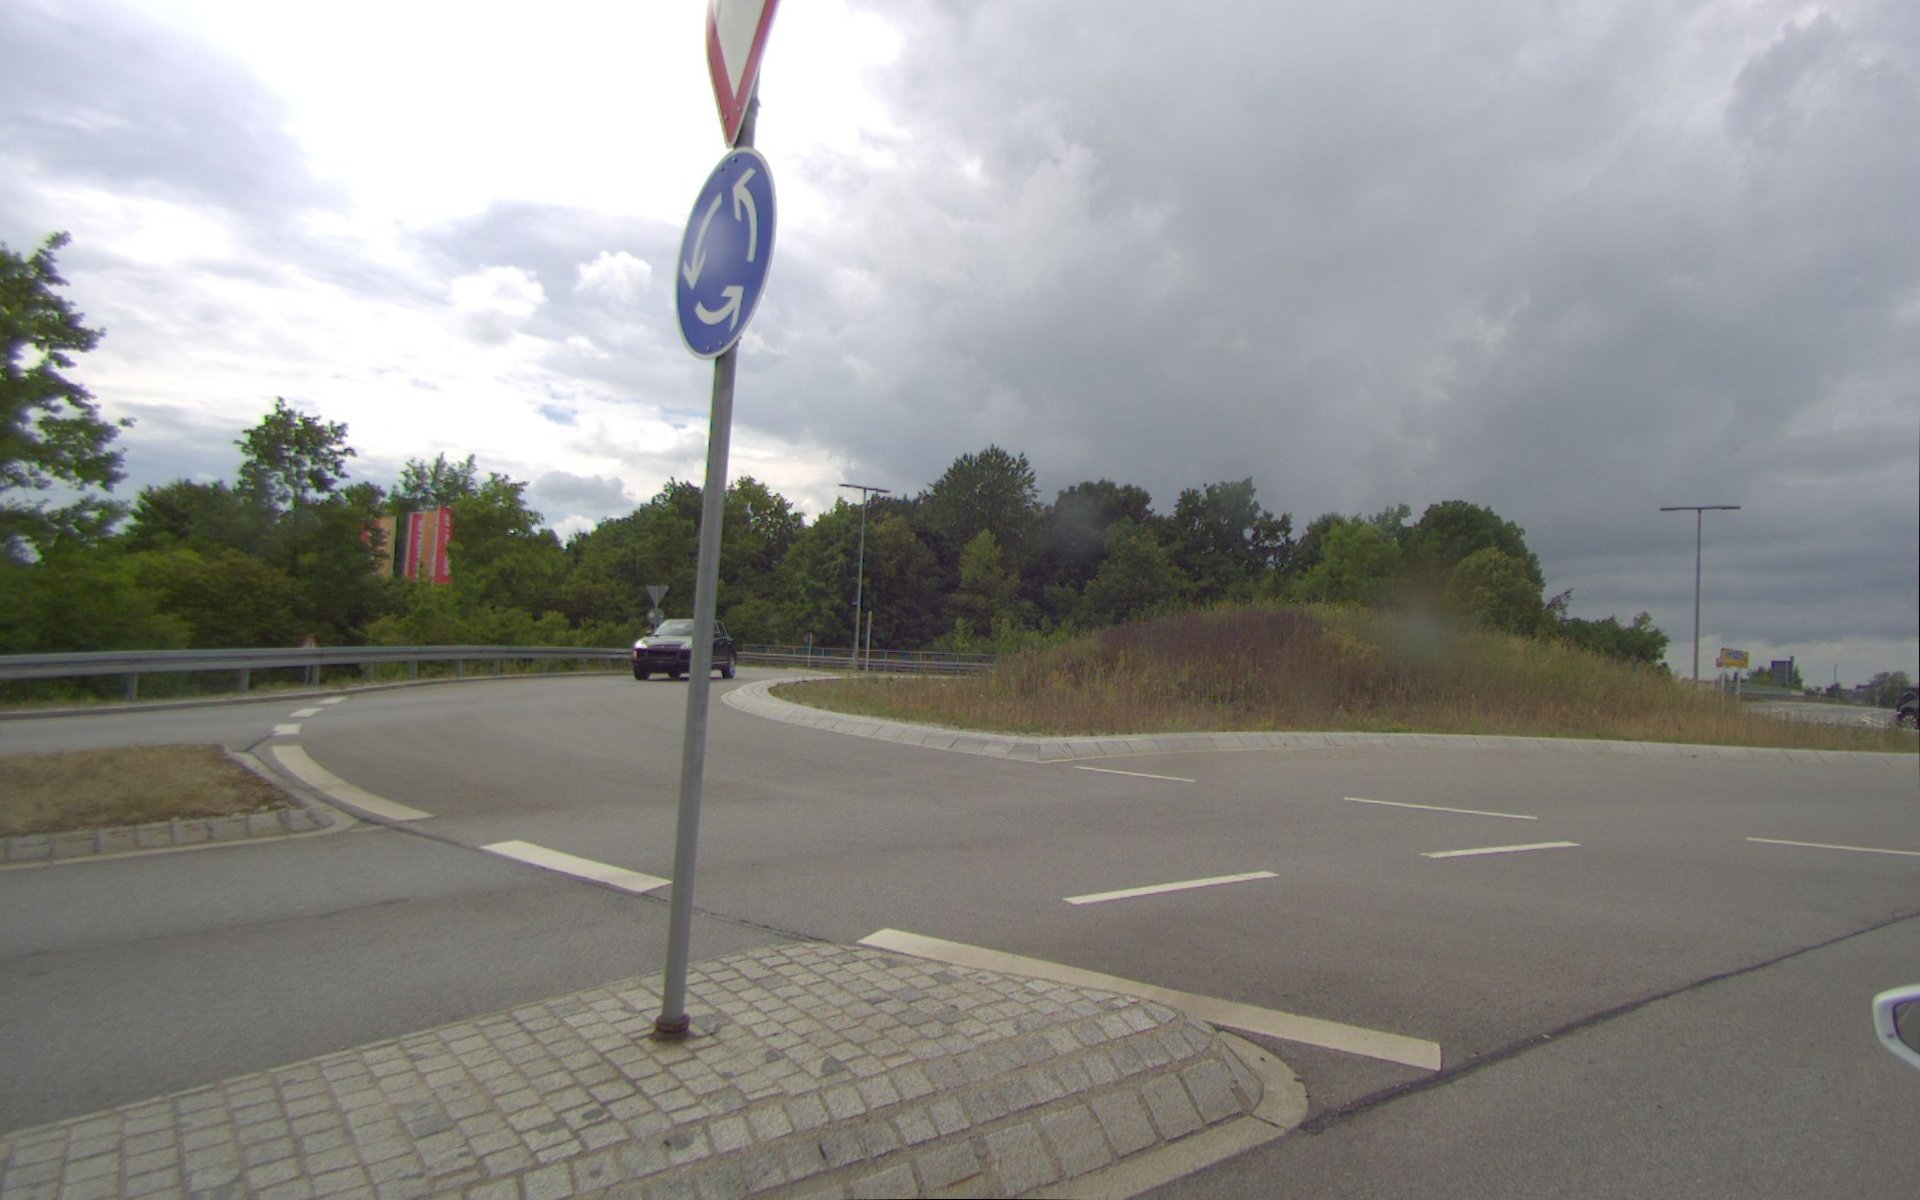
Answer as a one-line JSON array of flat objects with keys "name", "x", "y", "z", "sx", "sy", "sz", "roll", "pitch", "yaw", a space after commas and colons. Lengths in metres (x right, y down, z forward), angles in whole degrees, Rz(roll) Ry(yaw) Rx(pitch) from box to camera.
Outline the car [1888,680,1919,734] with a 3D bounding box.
[{"name": "car", "x": 26.046, "y": 2.828, "z": 25.737, "sx": 1.633, "sy": 1.396, "sz": 4.003, "roll": 1, "pitch": -3, "yaw": 15}]

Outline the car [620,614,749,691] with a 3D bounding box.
[{"name": "car", "x": -7.626, "y": 1.388, "z": 28.405, "sx": 2.064, "sy": 1.814, "sz": 5.052, "roll": 3, "pitch": 0, "yaw": 1}]

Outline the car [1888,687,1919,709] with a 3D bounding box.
[{"name": "car", "x": 73.056, "y": 7.555, "z": 77.772, "sx": 1.579, "sy": 1.569, "sz": 4.027, "roll": 0, "pitch": -3, "yaw": 40}]
